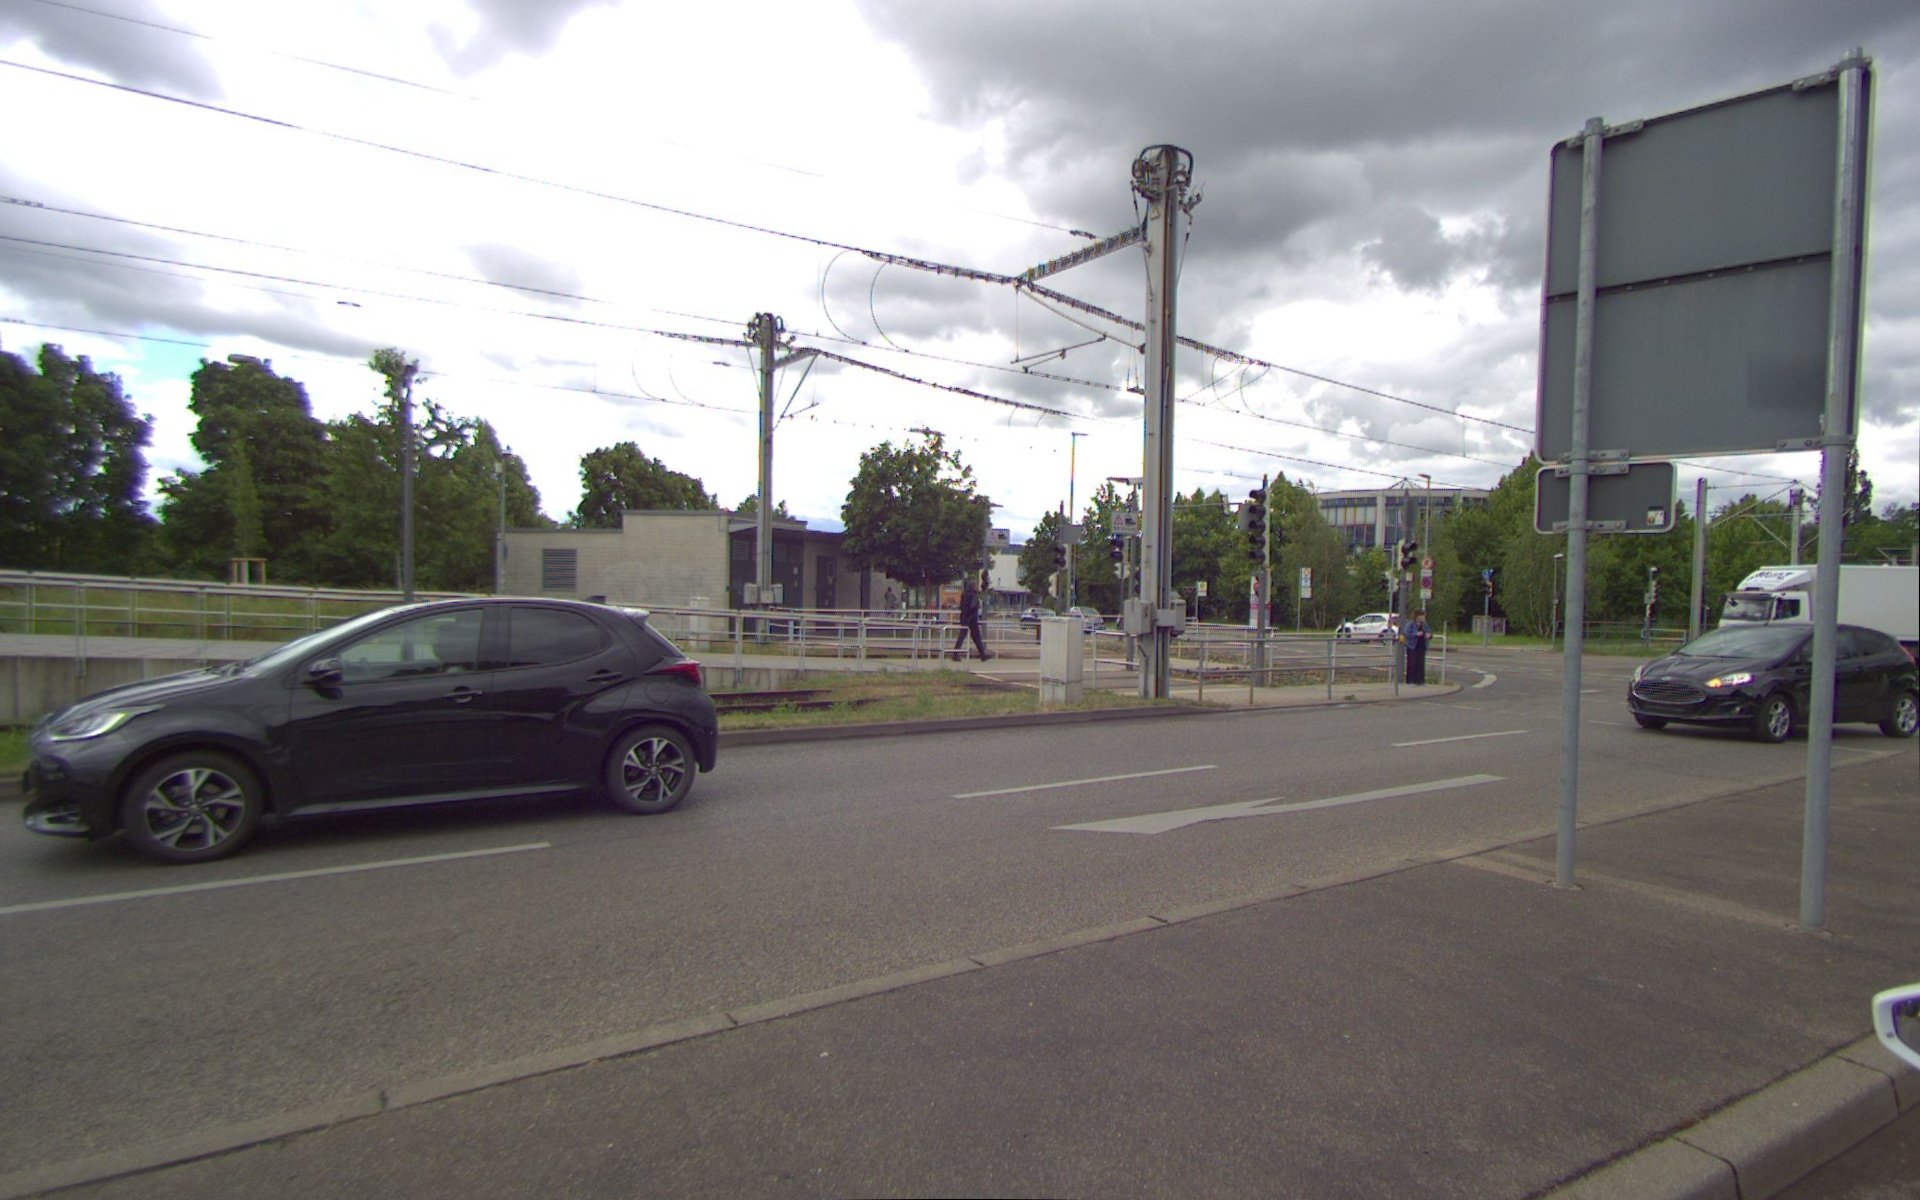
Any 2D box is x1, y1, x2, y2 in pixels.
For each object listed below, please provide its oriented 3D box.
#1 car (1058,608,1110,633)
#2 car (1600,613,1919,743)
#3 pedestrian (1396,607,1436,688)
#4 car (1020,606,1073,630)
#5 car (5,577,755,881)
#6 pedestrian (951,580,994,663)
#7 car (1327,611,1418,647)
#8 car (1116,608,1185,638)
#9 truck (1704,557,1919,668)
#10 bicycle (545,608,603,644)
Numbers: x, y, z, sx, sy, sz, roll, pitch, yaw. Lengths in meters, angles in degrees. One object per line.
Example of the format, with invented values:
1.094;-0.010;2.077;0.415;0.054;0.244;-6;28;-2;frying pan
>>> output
7.045;1.162;57.202;1.530;1.327;3.276;1;0;-22;car
10.525;0.956;13.156;3.718;1.499;1.633;1;0;-19;car
9.104;0.944;20.061;0.640;1.577;0.354;-1;1;4;pedestrian
5.298;1.091;61.946;1.698;1.327;3.729;1;0;-22;car
-3.511;0.659;6.723;3.894;1.516;1.585;1;1;-31;car
0.278;0.477;22.984;0.785;1.852;0.568;1;1;-33;pedestrian
19.750;1.360;48.209;1.761;1.528;3.715;-2;1;-31;car
9.573;1.155;50.824;1.496;1.395;3.979;1;0;-22;car
32.515;0.489;36.326;9.318;3.698;2.668;2;1;-2;truck
-11.773;0.777;30.642;1.762;1.029;0.411;1;1;18;bicycle
